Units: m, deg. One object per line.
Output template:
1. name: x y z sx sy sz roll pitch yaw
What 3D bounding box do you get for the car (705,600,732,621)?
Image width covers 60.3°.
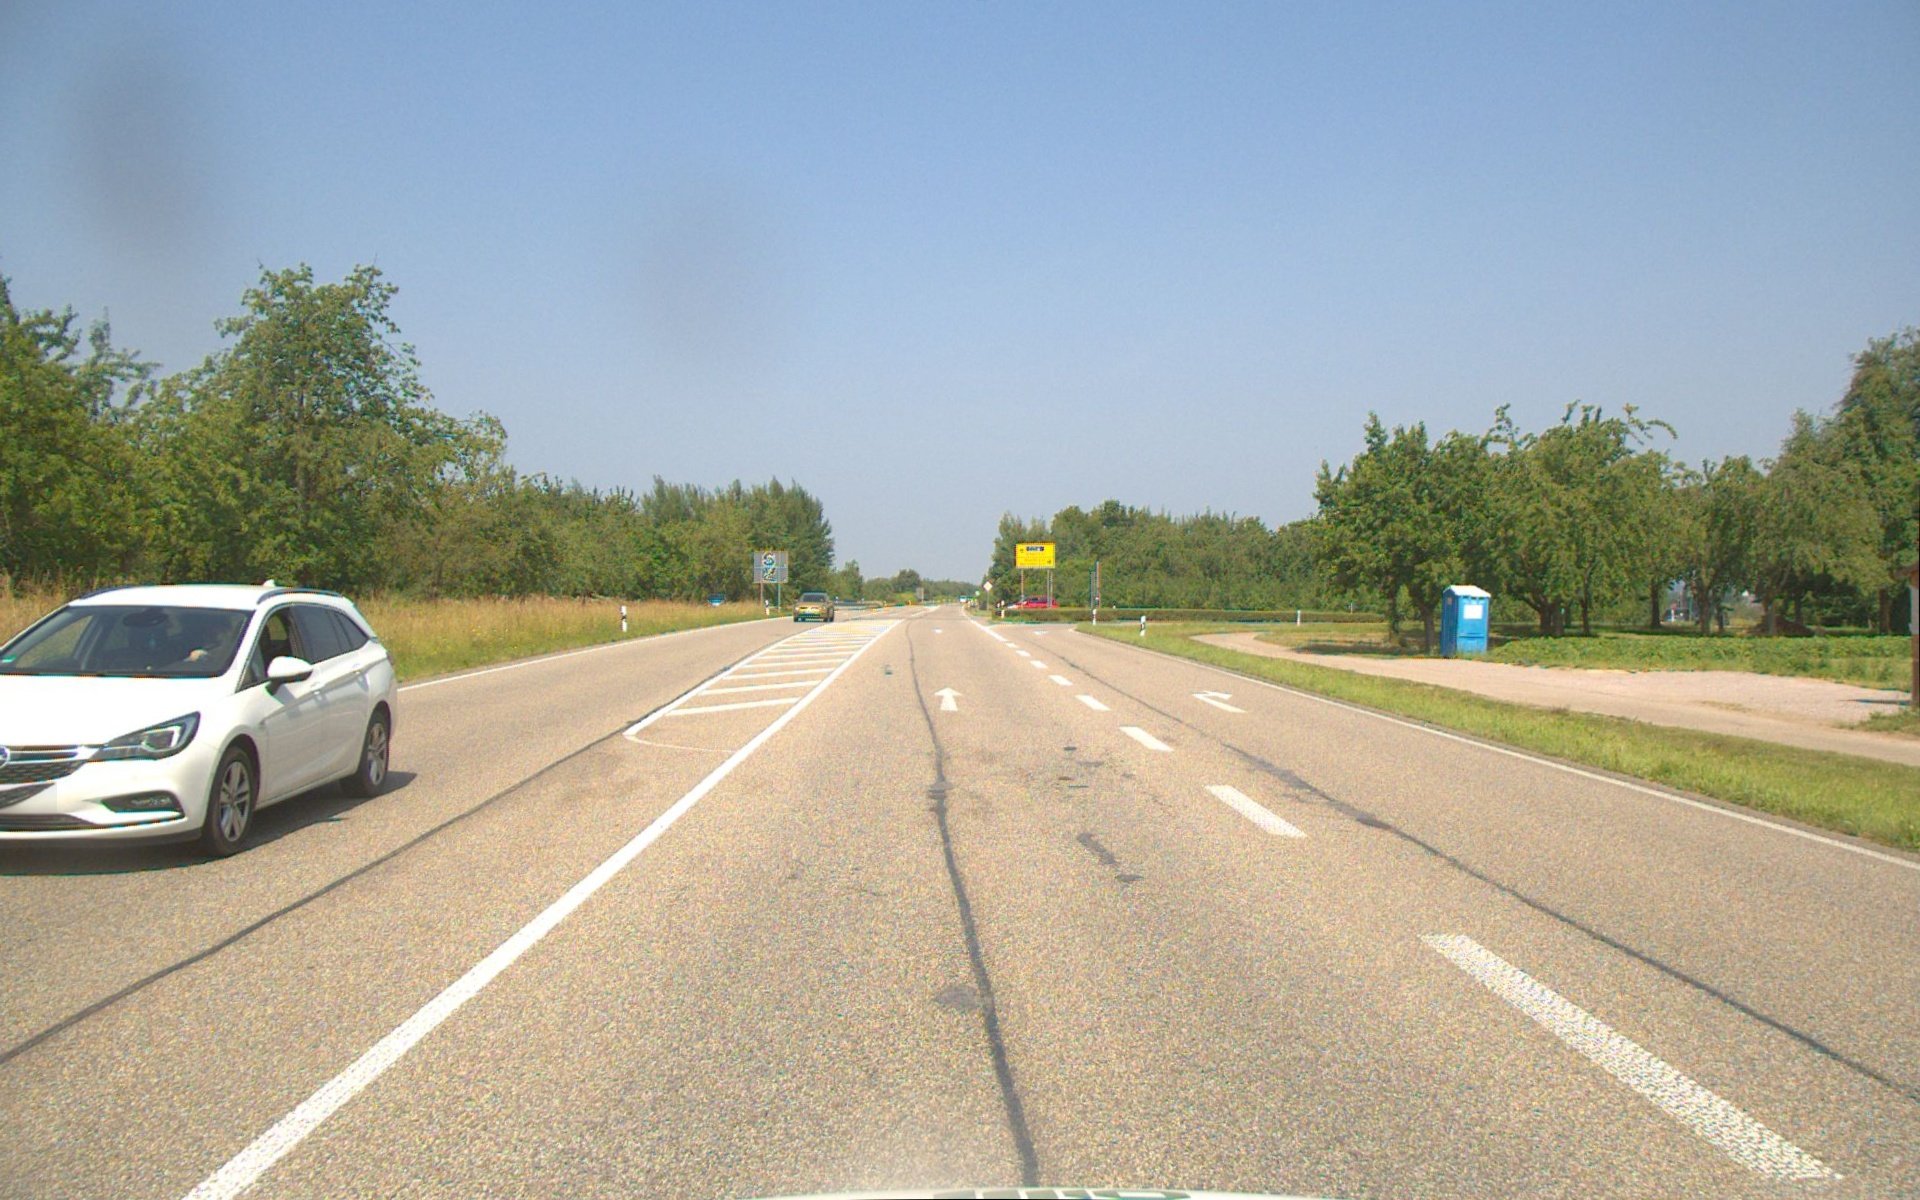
1. car: -17.270 0.732 118.410 1.671 1.448 4.039 0 0 -5

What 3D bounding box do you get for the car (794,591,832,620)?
1. car: -7.501 0.260 84.582 1.662 1.441 3.824 1 0 -1

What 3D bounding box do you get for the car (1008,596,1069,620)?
1. car: 5.236 0.518 109.944 3.682 1.519 1.663 2 0 -18

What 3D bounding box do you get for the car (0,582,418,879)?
1. car: -4.888 0.667 10.586 1.641 1.520 4.134 1 0 -3
